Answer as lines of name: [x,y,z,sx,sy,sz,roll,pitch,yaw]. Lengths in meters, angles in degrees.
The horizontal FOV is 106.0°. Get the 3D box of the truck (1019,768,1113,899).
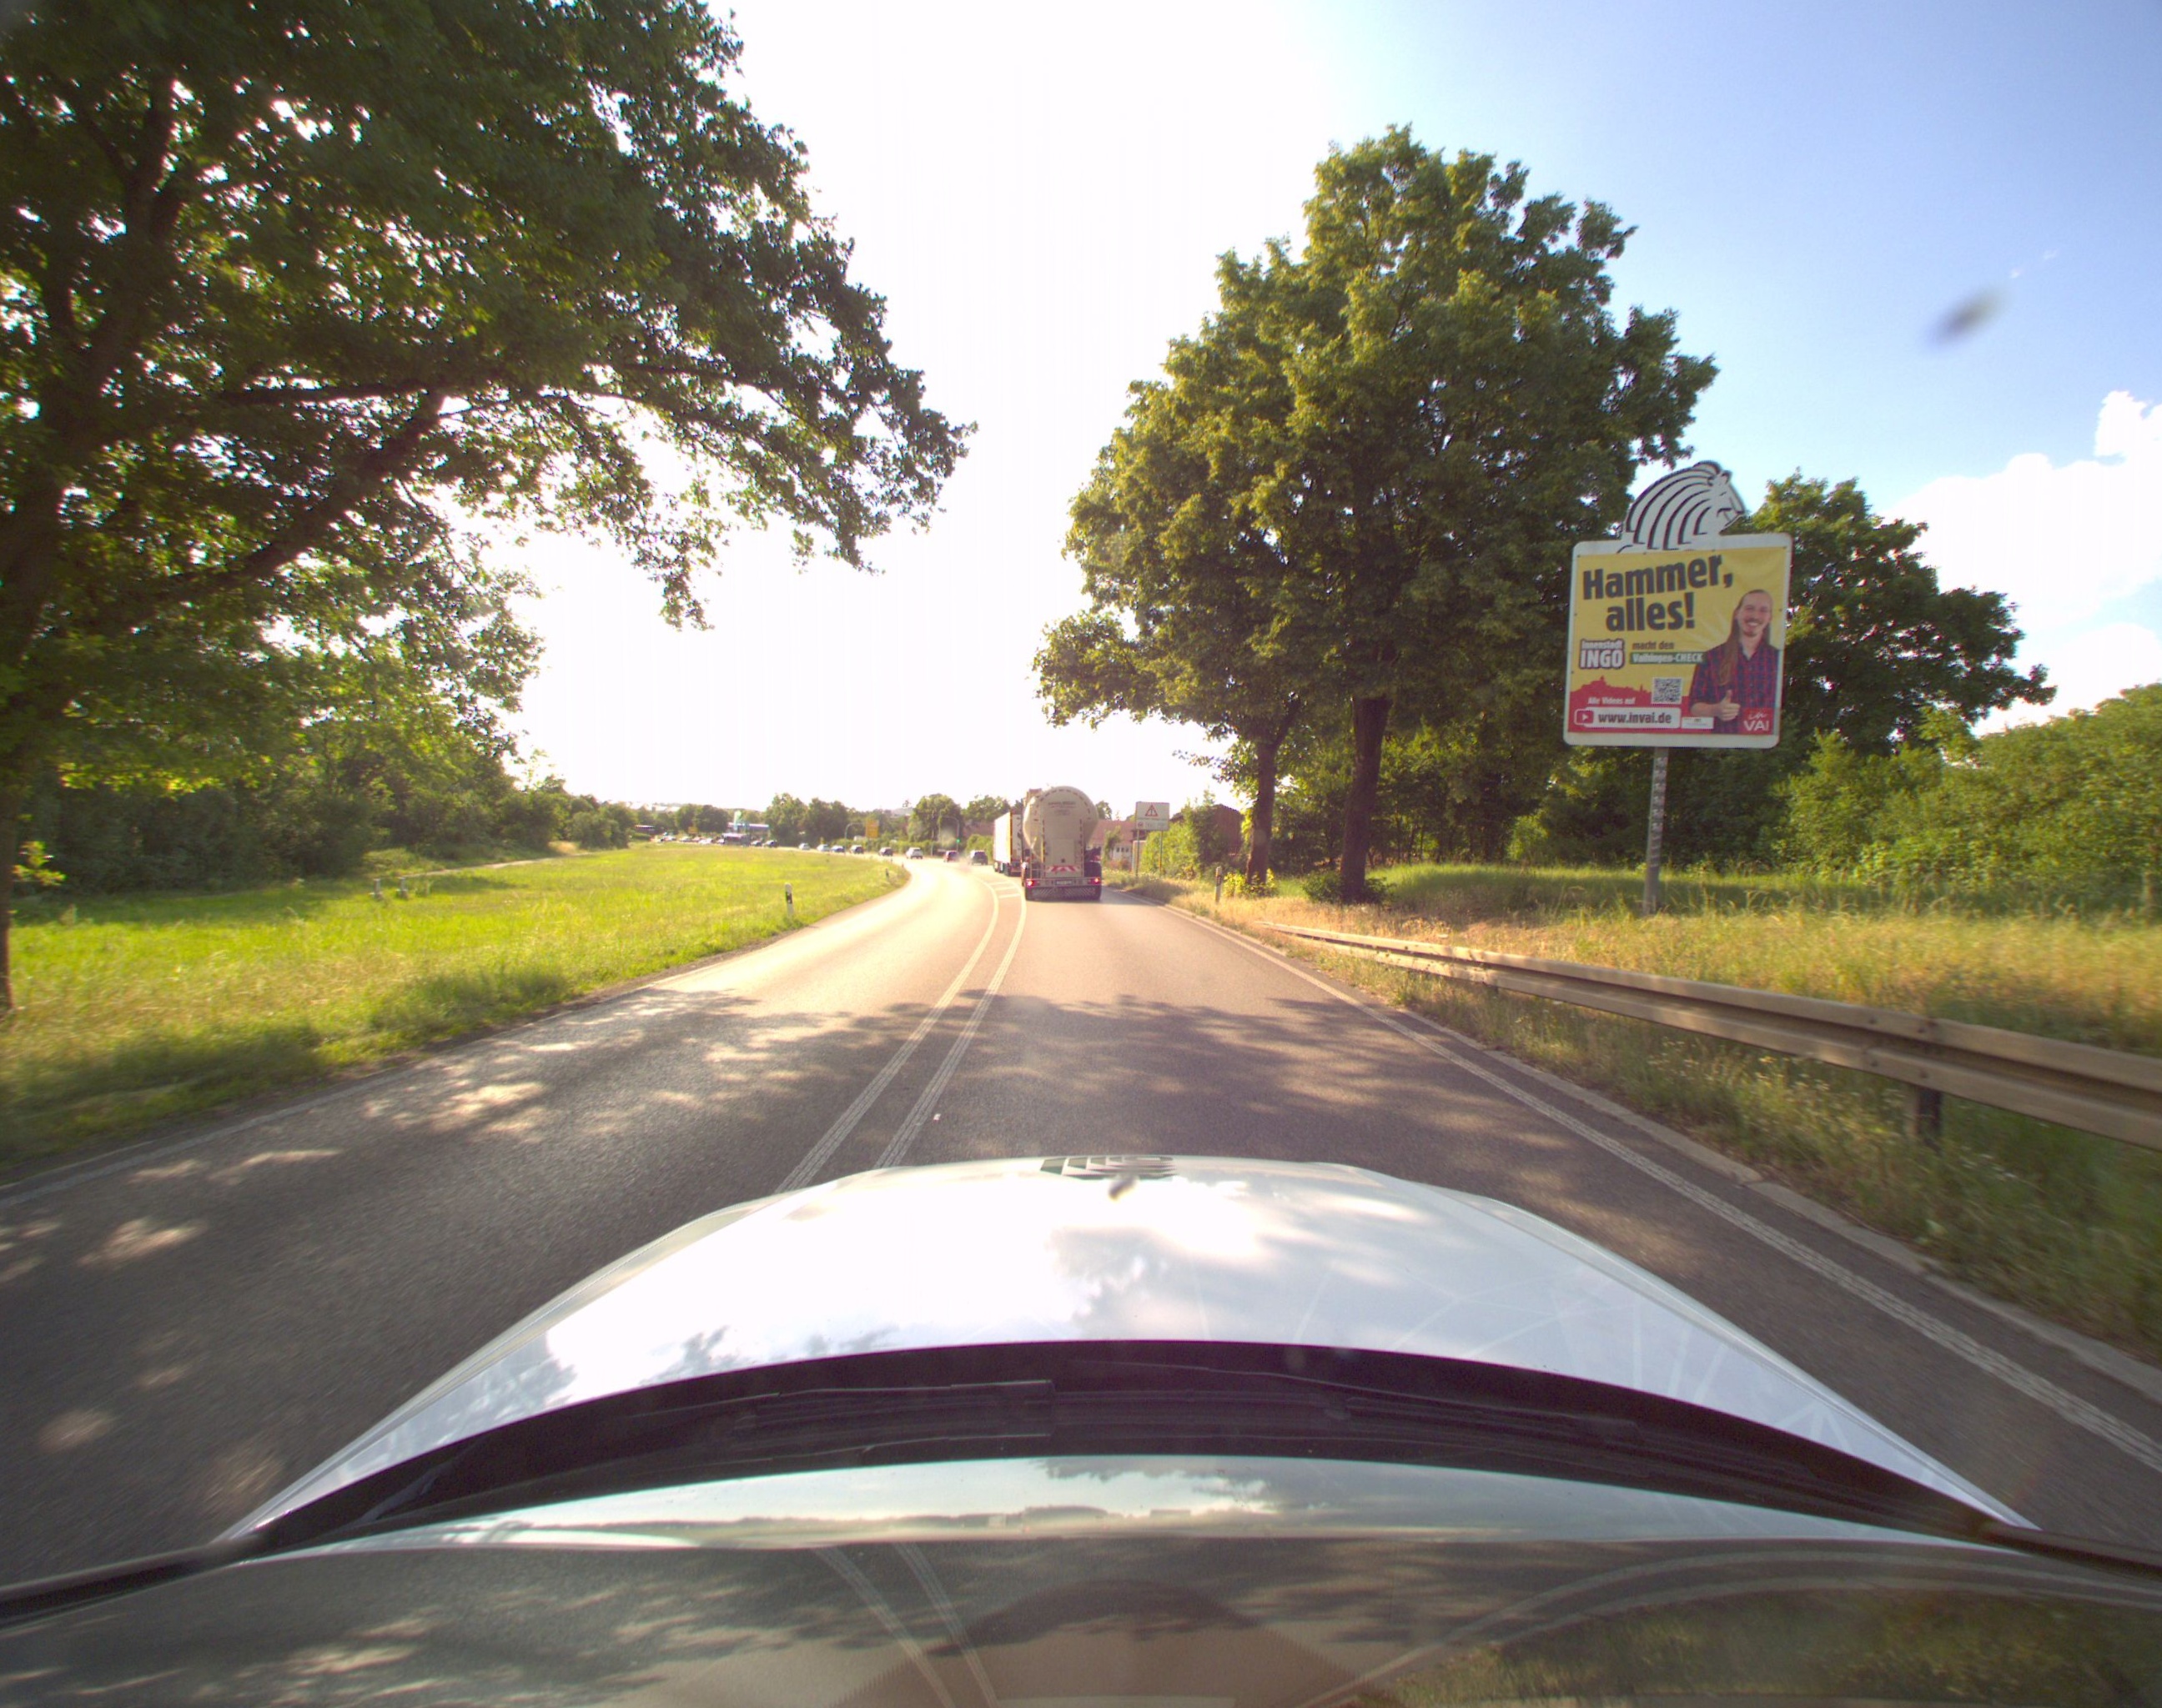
truck: [-0.927,-0.611,31.841,2.971,4.175,11.642,0,-1,-5]

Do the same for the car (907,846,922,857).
car: [-25.703,-0.369,125.475,1.846,1.656,3.976,0,-1,-18]

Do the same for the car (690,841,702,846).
car: [-109.706,-2.975,232.078,1.899,1.599,3.951,0,1,-44]

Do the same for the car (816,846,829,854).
car: [-56.002,-0.845,176.526,1.690,1.559,3.833,0,-1,-32]

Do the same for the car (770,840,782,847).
car: [-78.480,-2.597,209.602,1.741,1.656,3.829,0,-1,-37]

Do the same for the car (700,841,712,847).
car: [-104.831,-2.854,227.643,1.897,1.599,3.954,0,1,-39]

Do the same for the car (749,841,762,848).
car: [-83.213,-2.440,208.280,2.101,1.599,3.956,0,1,-37]

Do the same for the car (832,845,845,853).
car: [-49.878,-0.957,167.635,1.690,1.559,3.833,0,-1,-32]

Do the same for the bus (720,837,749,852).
bus: [-84.392,-2.275,198.306,2.818,3.181,11.981,0,-1,-42]

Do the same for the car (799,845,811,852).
car: [-64.118,-1.237,189.229,1.989,1.656,3.833,0,-1,-32]

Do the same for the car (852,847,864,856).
car: [-43.226,-0.443,157.919,1.528,1.656,3.838,0,-1,-27]

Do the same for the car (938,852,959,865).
car: [-17.129,0.636,104.911,2.303,1.656,4.392,0,-1,-15]

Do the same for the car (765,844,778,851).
car: [-76.457,-1.611,201.075,2.101,1.599,3.956,0,1,-37]

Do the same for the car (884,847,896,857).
car: [-32.949,-0.295,140.584,1.525,1.656,3.844,0,-1,-21]

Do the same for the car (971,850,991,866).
car: [-10.794,0.435,87.734,1.994,1.656,3.985,0,-1,-11]

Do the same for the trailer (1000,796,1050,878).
trailer: [-3.796,-0.984,53.645,2.959,4.882,10.269,0,-1,-5]
